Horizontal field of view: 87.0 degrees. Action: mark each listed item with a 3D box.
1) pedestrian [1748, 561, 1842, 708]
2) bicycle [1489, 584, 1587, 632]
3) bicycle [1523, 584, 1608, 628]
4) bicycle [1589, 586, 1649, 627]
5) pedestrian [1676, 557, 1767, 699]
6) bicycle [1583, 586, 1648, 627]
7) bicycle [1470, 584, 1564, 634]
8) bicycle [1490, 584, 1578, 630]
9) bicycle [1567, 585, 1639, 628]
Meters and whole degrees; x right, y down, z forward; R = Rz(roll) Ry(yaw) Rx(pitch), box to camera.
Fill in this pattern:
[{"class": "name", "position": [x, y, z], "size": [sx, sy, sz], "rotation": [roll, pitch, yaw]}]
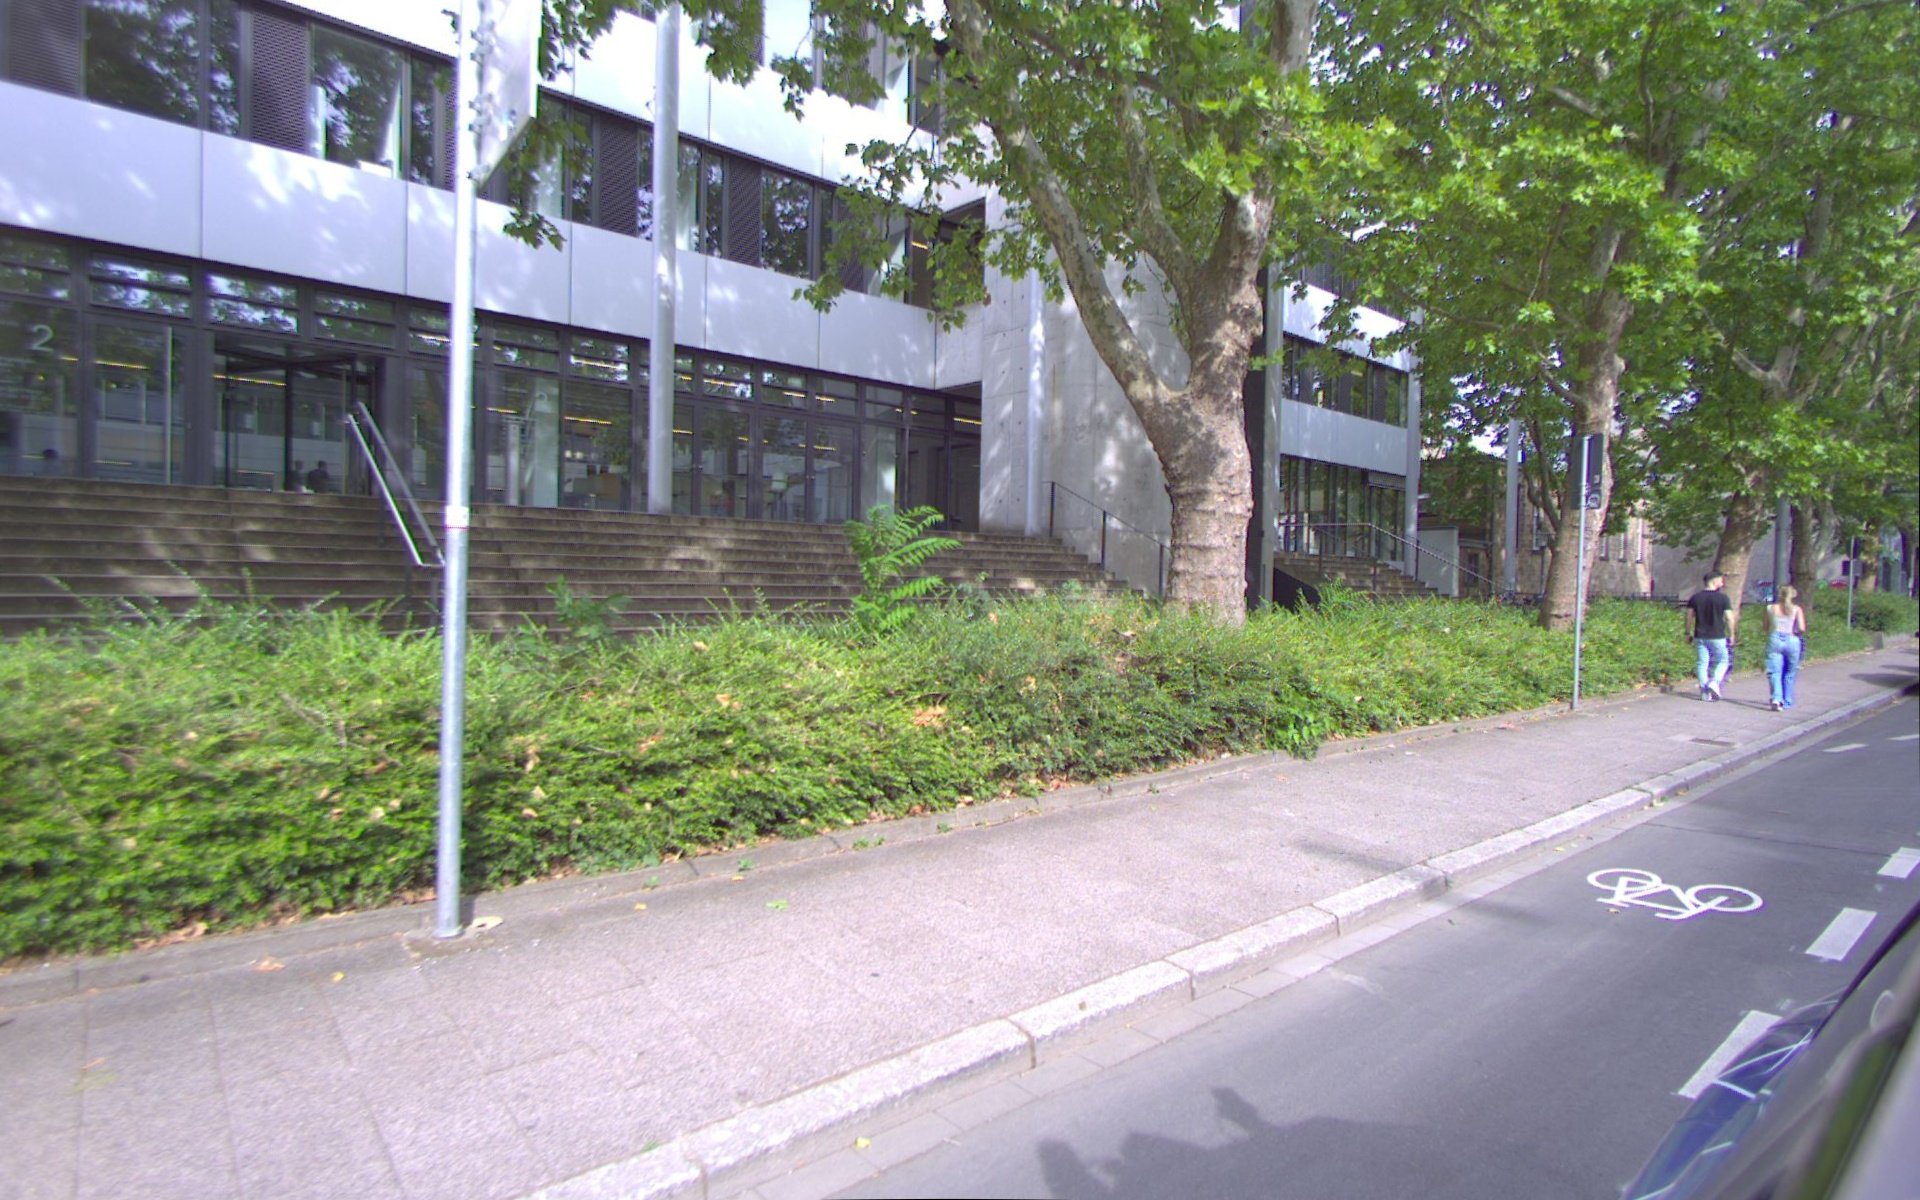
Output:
[{"class": "pedestrian", "position": [10.863, 0.413, 13.164], "size": [1.016, 1.805, 0.712], "rotation": [0, 3, -42]}, {"class": "bicycle", "position": [15.044, 0.192, 26.384], "size": [0.661, 1.131, 2.084], "rotation": [0, 2, -40]}, {"class": "bicycle", "position": [17.146, 0.159, 28.701], "size": [0.661, 1.131, 1.919], "rotation": [0, 2, -40]}, {"class": "bicycle", "position": [19.373, 0.185, 29.751], "size": [1.378, 1.131, 0.461], "rotation": [4, 2, 43]}, {"class": "pedestrian", "position": [10.328, 0.345, 13.717], "size": [1.016, 1.821, 0.716], "rotation": [0, 3, -42]}, {"class": "bicycle", "position": [19.555, 0.176, 30.214], "size": [1.539, 1.131, 0.461], "rotation": [4, 2, 43]}, {"class": "bicycle", "position": [14.036, 0.203, 25.544], "size": [0.661, 1.131, 1.919], "rotation": [0, 2, -40]}, {"class": "bicycle", "position": [15.525, 0.176, 27.408], "size": [0.661, 1.131, 1.919], "rotation": [0, 2, -40]}, {"class": "bicycle", "position": [18.432, 0.175, 29.058], "size": [1.686, 1.131, 0.616], "rotation": [3, 2, 31]}]
